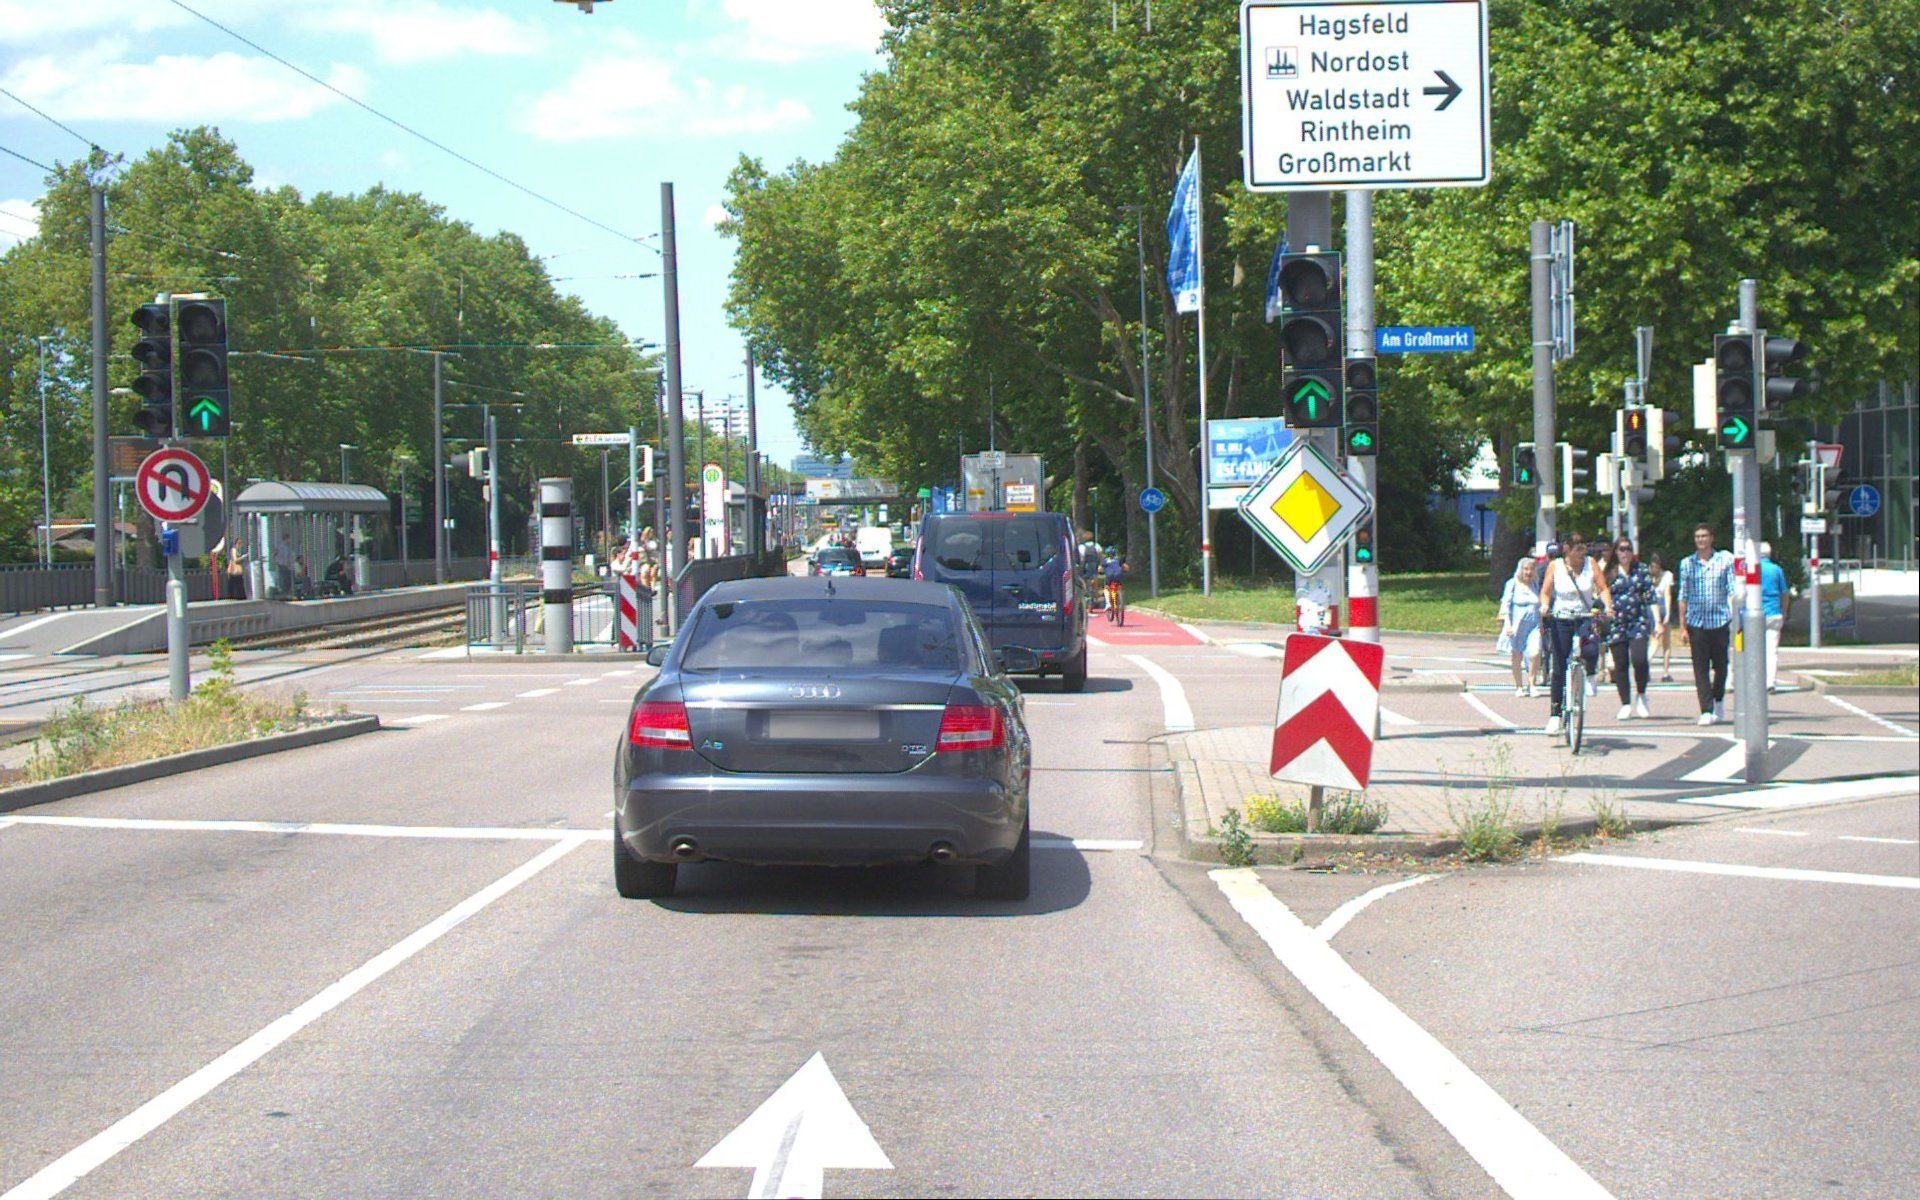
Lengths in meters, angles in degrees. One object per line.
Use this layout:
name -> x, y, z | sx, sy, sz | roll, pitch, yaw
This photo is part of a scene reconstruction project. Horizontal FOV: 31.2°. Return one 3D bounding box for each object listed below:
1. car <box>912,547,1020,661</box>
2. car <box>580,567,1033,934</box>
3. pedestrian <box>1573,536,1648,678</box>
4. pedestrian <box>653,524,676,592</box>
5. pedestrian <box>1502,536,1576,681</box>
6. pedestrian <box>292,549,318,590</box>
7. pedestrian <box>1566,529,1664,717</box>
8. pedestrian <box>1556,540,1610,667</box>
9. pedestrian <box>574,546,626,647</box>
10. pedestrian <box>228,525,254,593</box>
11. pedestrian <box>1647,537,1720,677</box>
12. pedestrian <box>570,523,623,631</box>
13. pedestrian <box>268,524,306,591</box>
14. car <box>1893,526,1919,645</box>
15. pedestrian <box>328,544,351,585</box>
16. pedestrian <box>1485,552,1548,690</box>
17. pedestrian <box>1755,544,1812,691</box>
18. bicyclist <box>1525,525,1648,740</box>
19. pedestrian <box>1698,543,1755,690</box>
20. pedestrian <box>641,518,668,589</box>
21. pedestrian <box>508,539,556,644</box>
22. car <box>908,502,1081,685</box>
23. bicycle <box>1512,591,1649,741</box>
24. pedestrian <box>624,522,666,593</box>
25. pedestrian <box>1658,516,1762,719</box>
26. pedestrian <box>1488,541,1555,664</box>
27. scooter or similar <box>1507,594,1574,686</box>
car -> 0.112, 0.038, 61.463 | 1.848, 1.953, 4.145 | 0, 1, 0
car -> -0.626, 0.597, 16.120 | 1.842, 1.479, 4.000 | 1, 1, 0
pedestrian -> 7.694, 0.068, 40.629 | 0.795, 1.653, 0.851 | 0, 1, 16
pedestrian -> -6.938, -0.987, 80.740 | 0.497, 1.572, 0.557 | 0, 1, -3
pedestrian -> 6.772, 0.087, 40.255 | 0.782, 1.667, 0.946 | 0, 1, 6
pedestrian -> -17.772, -0.826, 93.340 | 0.576, 1.091, 0.639 | -1, 1, -1
pedestrian -> 6.208, 0.205, 32.612 | 0.803, 1.753, 0.797 | 0, 1, 3
pedestrian -> 8.312, 0.034, 45.840 | 0.623, 1.677, 0.725 | 0, 1, 16
pedestrian -> -5.610, -0.060, 53.561 | 0.785, 1.567, 0.765 | 0, 1, -5
pedestrian -> -17.541, -1.009, 83.883 | 0.557, 1.632, 0.807 | 0, 1, -9
pedestrian -> 8.652, 0.078, 41.080 | 0.795, 1.653, 0.851 | 0, 1, 16
pedestrian -> -6.121, -0.391, 57.910 | 0.862, 1.796, 0.884 | 0, 1, -5
pedestrian -> -17.456, -1.093, 89.185 | 0.738, 1.723, 0.577 | 0, 1, 36
car -> 14.513, -0.182, 45.042 | 3.986, 1.550, 2.000 | 0, 1, -3
pedestrian -> -18.220, -1.033, 100.944 | 0.576, 1.186, 0.639 | -1, 1, -1
pedestrian -> 6.039, 0.220, 37.347 | 0.589, 1.471, 0.806 | 1, 1, 5
pedestrian -> 9.240, 0.196, 38.572 | 0.603, 1.632, 0.863 | 0, 0, 13
bicyclist -> 5.018, 0.252, 27.575 | 0.814, 1.695, 0.799 | 0, 1, -1
pedestrian -> 8.637, 0.186, 38.747 | 0.606, 1.632, 0.863 | 0, 0, 13
pedestrian -> -7.266, -1.111, 81.734 | 0.613, 1.675, 0.720 | 0, 1, -3
pedestrian -> -6.834, -0.136, 54.956 | 0.732, 1.667, 0.678 | 0, 1, -5
car -> 0.373, -0.103, 39.126 | 1.848, 1.953, 4.145 | 0, 1, 0
bicycle -> 4.944, 0.534, 27.492 | 0.829, 1.158, 1.878 | 0, -2, 3
pedestrian -> -7.205, -0.981, 78.693 | 0.890, 1.599, 0.924 | 0, 1, -3
pedestrian -> 6.959, 0.152, 31.942 | 0.803, 1.858, 0.797 | 0, 1, 3
pedestrian -> 7.409, 0.028, 45.321 | 0.766, 1.600, 0.896 | 0, 1, 16
scooter or similar -> 6.691, 0.456, 39.635 | 0.689, 1.027, 0.863 | 0, 1, 5
